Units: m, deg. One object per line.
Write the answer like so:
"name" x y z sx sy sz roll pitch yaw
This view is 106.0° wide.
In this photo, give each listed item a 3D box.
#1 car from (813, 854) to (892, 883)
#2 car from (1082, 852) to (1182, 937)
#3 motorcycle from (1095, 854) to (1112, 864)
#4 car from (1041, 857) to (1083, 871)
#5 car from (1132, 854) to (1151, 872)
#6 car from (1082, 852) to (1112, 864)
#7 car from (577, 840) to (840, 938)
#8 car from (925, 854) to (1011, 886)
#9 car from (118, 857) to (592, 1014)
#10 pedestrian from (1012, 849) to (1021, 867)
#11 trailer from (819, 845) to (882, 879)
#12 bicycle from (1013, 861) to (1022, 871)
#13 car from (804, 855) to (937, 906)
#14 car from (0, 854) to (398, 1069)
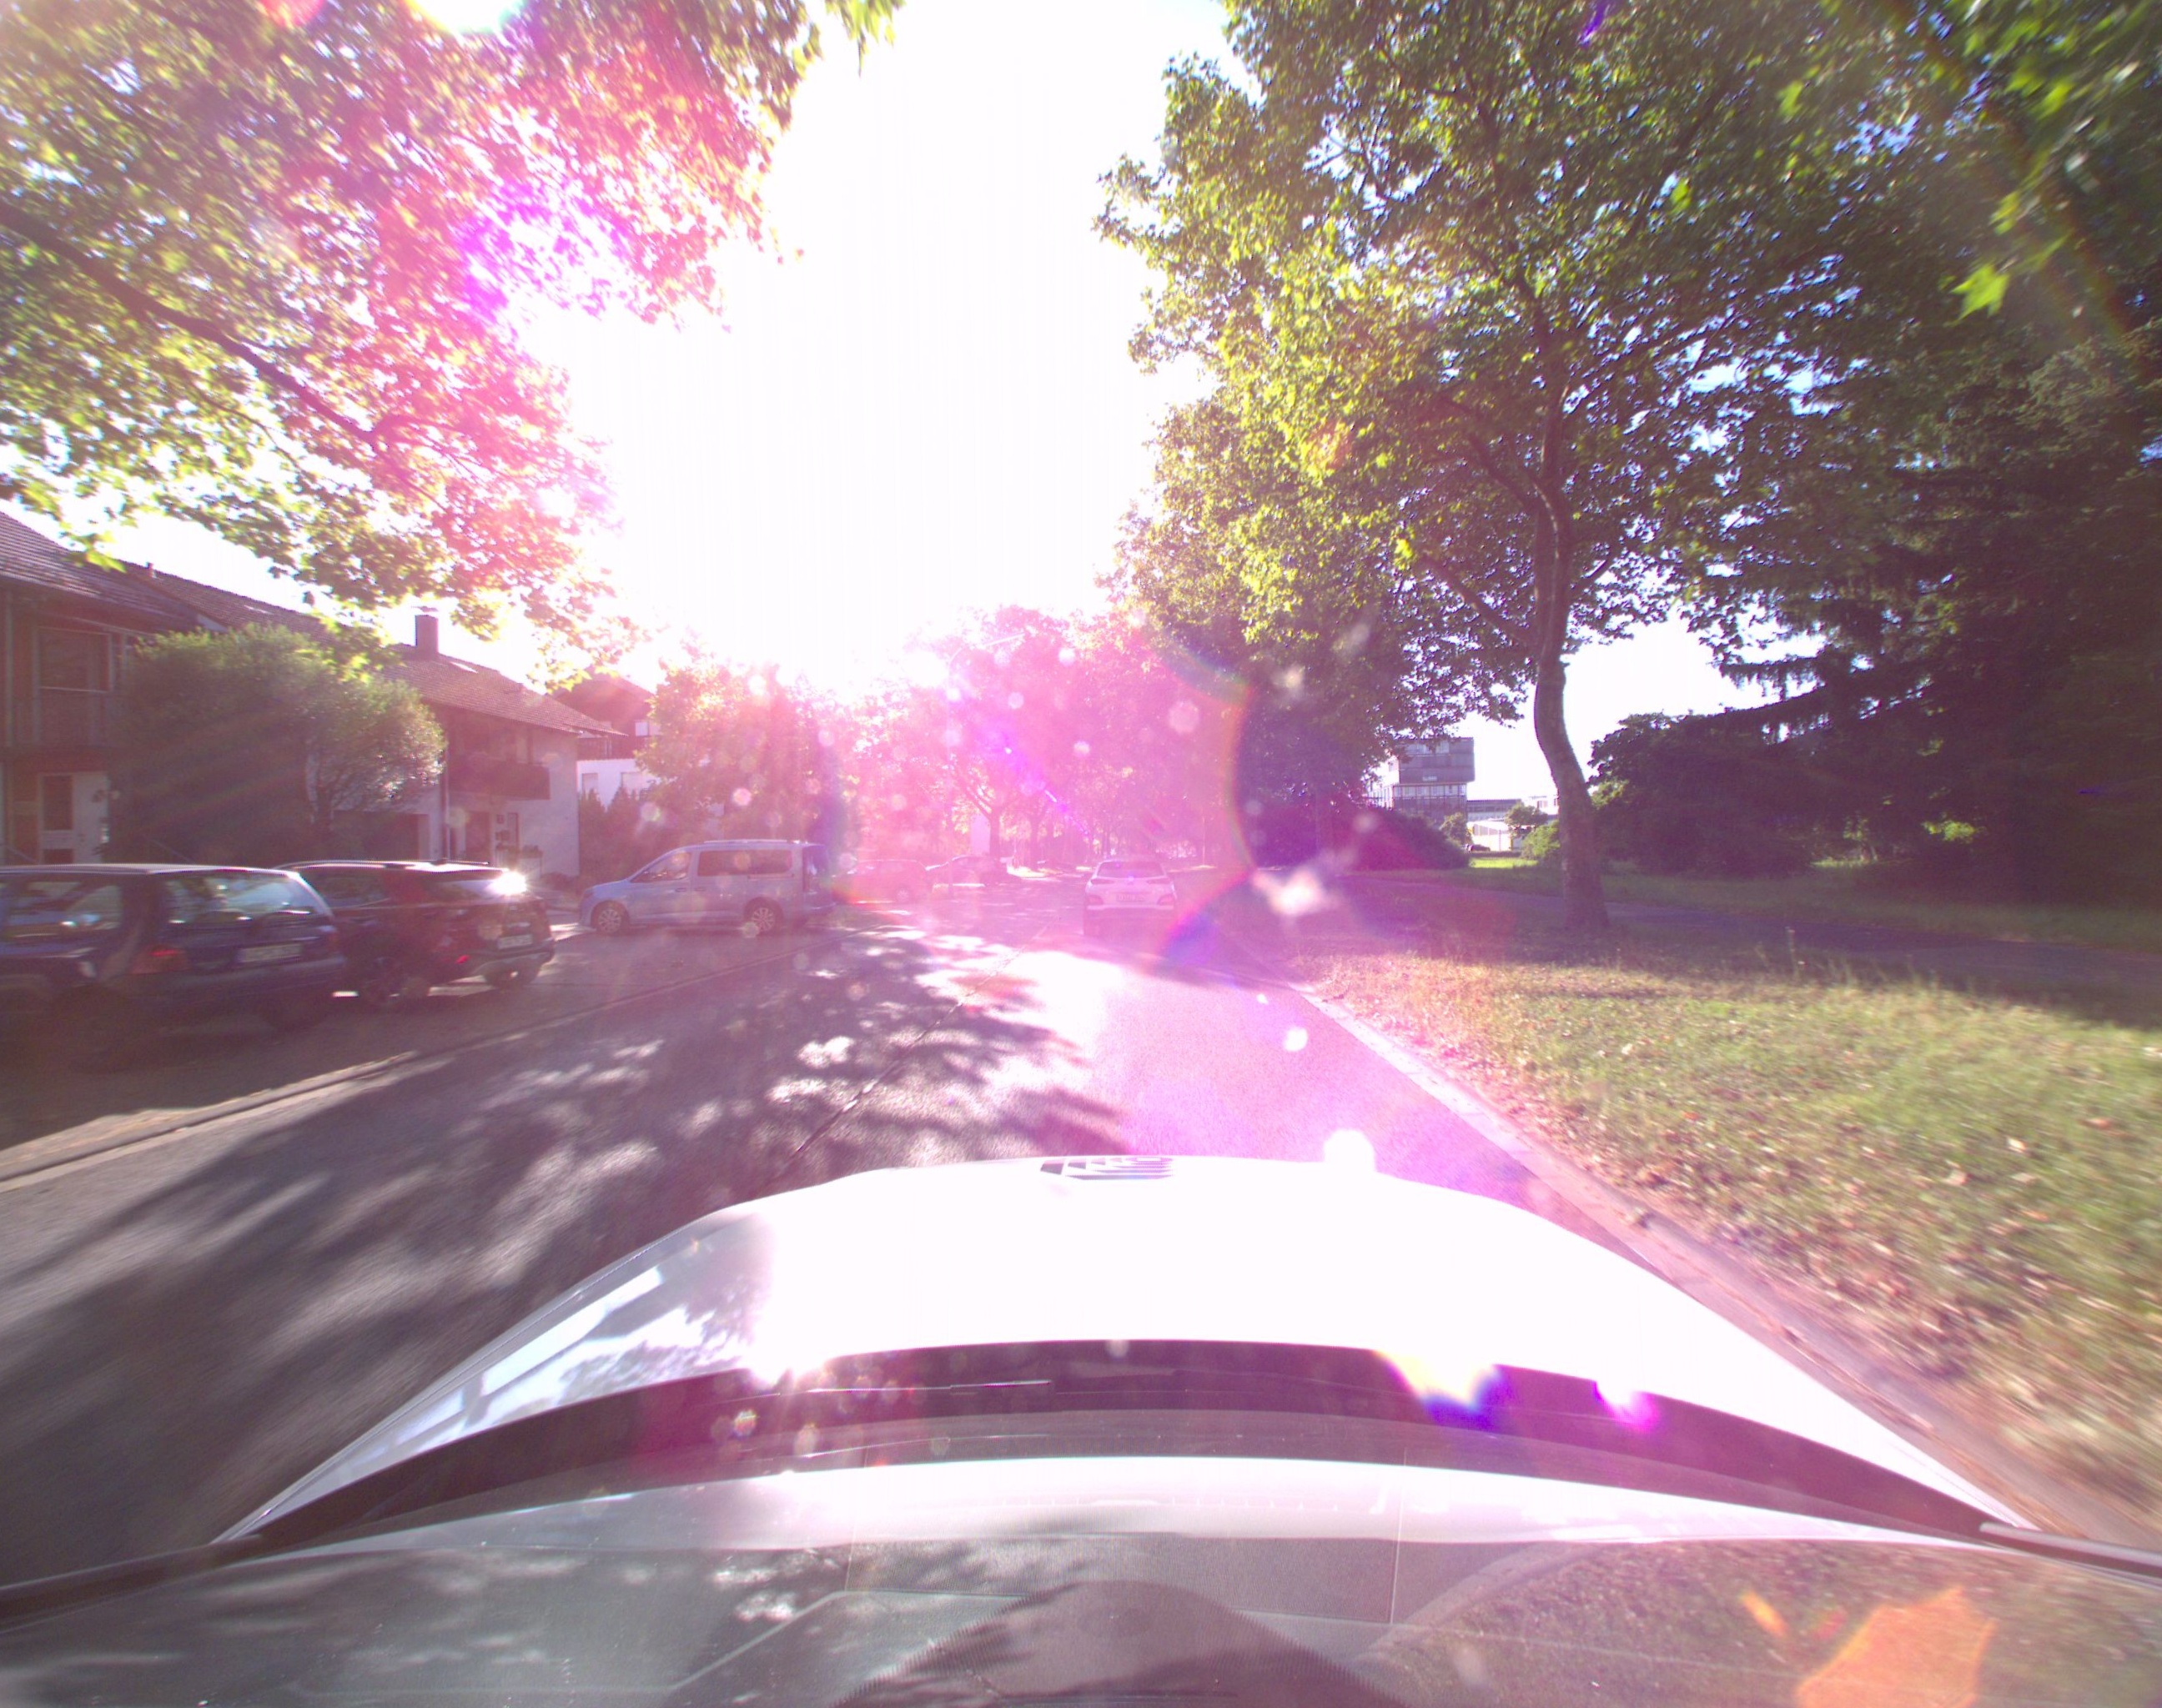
"car" -13.547 0.833 48.364 3.969 1.476 2.003 3 0 4
"car" 0.950 0.771 17.027 1.829 1.556 3.999 0 -1 0
"motorcycle" 3.315 0.676 118.502 2.376 1.388 0.649 -1 -1 2
"car" -1.813 0.947 78.847 3.808 1.316 1.792 1 0 4
"car" 5.758 0.824 77.855 1.669 1.696 3.748 -1 0 3
"car" 2.350 0.571 116.052 4.165 1.584 2.002 -1 0 3
"car" -7.365 0.666 16.464 4.371 1.824 1.995 0 0 0
"car" -5.548 0.795 40.347 3.973 1.518 1.818 0 0 2
"car" -7.763 0.814 8.990 3.628 1.517 1.782 -1 0 1
"pedestrian" -6.149 0.352 77.669 0.614 1.716 1.067 -1 -1 5
"trailer" -14.543 0.463 51.477 3.439 1.925 1.645 3 1 3
"bicycle" -6.083 1.117 77.632 0.467 0.880 2.159 -1 0 5
"car" -6.788 0.829 26.531 3.859 1.518 1.665 -1 0 0
"car" -8.067 0.763 6.607 3.503 1.517 1.725 0 0 -3
